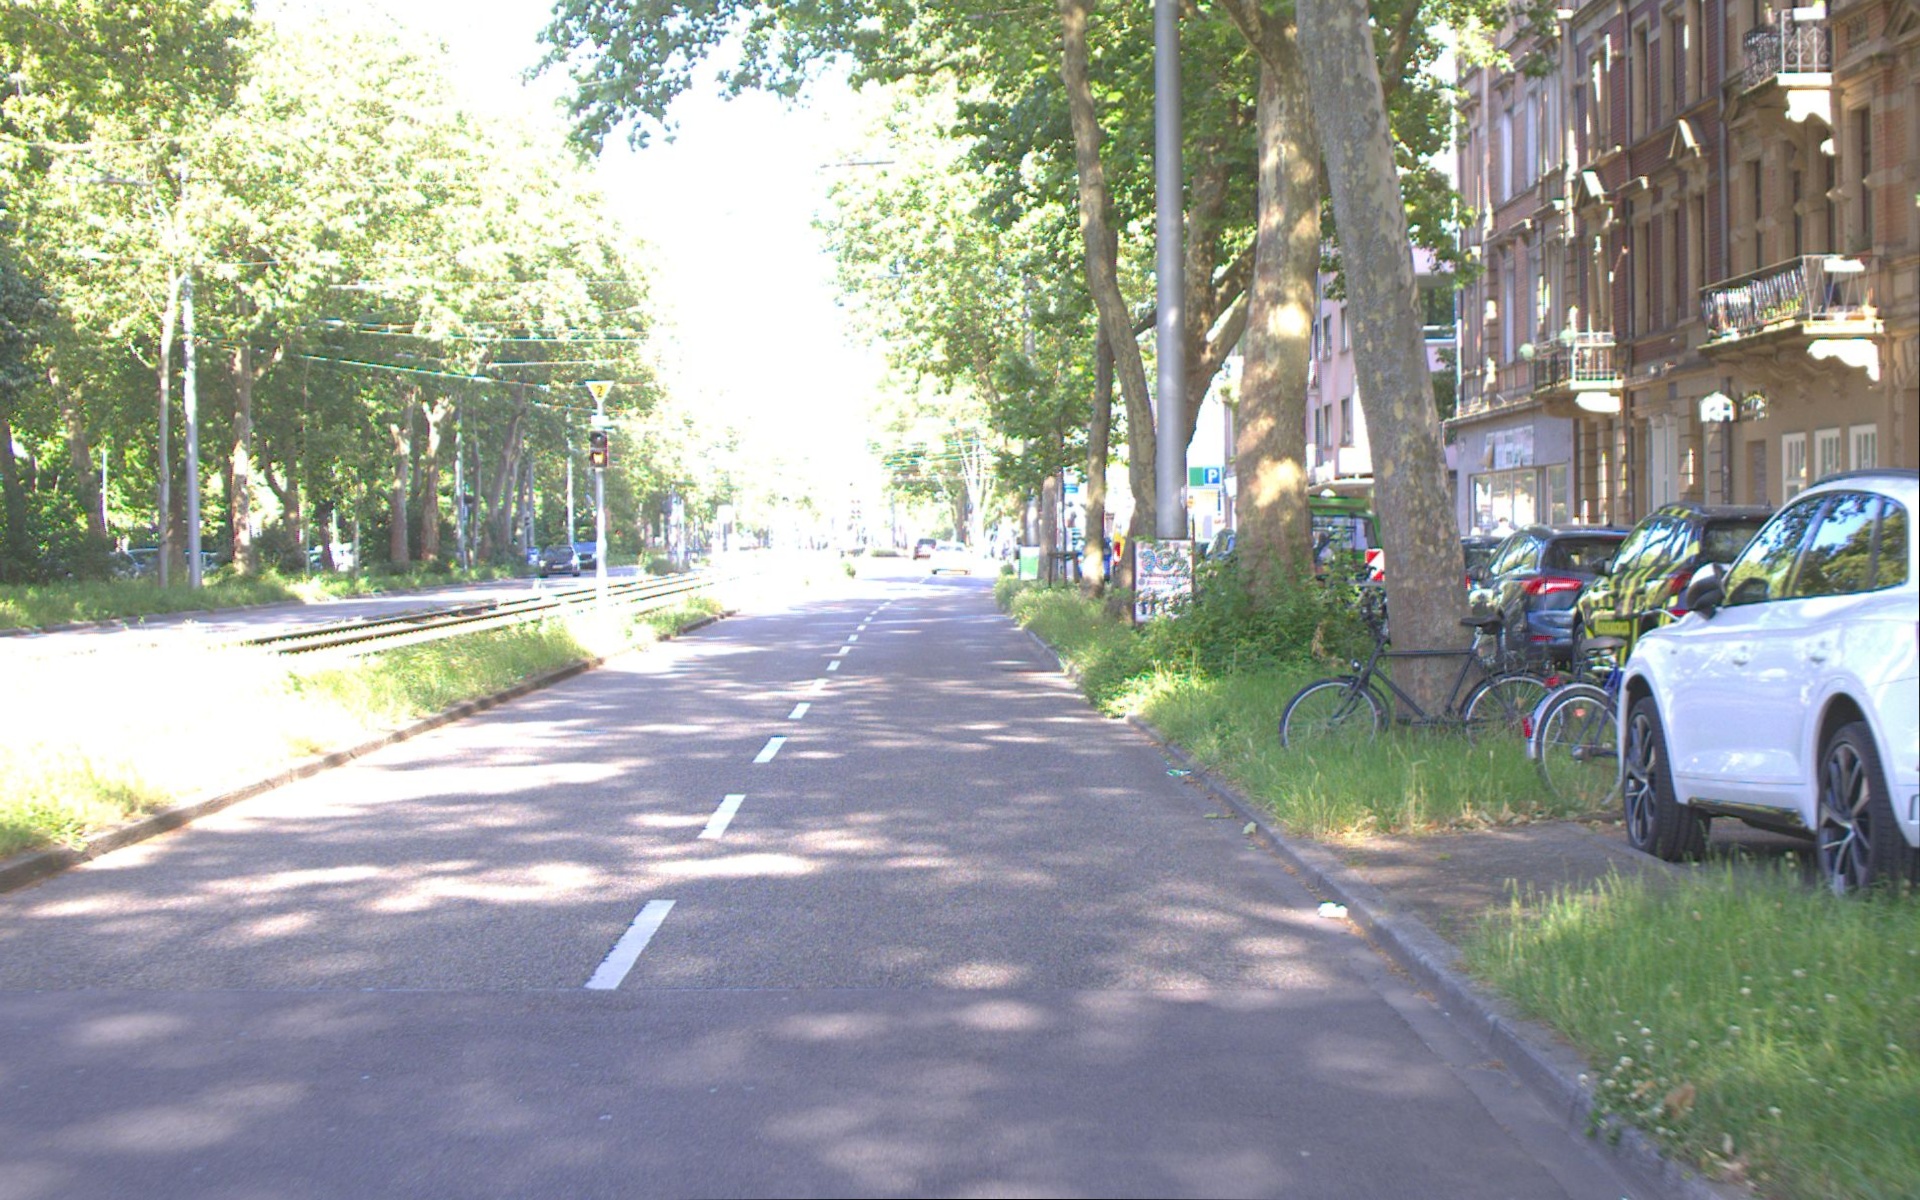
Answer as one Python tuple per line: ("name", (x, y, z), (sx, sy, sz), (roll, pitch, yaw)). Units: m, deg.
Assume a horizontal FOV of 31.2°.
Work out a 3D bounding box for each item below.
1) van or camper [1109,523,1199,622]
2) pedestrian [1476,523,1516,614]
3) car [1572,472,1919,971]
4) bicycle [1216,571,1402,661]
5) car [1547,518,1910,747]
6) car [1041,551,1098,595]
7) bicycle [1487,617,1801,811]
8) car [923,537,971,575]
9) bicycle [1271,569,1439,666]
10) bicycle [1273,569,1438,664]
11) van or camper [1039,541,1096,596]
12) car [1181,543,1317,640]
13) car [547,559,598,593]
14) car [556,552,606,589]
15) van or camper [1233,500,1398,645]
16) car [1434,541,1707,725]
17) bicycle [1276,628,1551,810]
("van or camper", (5.118, -0.729, 91.390), (2.184, 2.472, 6.268), (2, 0, 2))
("pedestrian", (10.727, -0.631, 68.796), (0.702, 1.816, 0.611), (0, 0, 0))
("car", (3.945, 0.359, 13.654), (1.902, 1.630, 4.825), (0, 1, -3))
("bicycle", (5.109, 0.236, 50.396), (2.548, 1.290, 0.975), (0, 0, -7))
("car", (5.598, 0.174, 25.532), (1.695, 1.525, 4.261), (-1, 2, -1))
("car", (3.771, -0.930, 118.855), (1.683, 1.508, 3.668), (0, 0, -3))
("bicycle", (3.553, 0.567, 17.774), (1.759, 0.924, 0.654), (-1, 1, -41))
("car", (-0.581, -1.924, 150.763), (2.021, 1.656, 4.000), (0, 1, -1))
("bicycle", (5.338, 0.230, 46.583), (2.164, 1.290, 0.983), (1, 0, 2))
("bicycle", (5.482, 0.225, 47.734), (2.164, 1.290, 0.983), (0, 0, 0))
("van or camper", (3.858, -1.134, 124.359), (1.839, 1.956, 5.127), (0, 0, -1))
("car", (5.271, -0.171, 63.224), (1.890, 1.641, 4.801), (2, 0, -2))
("car", (-18.296, -1.142, 162.418), (1.795, 1.503, 4.338), (-3, 0, 1))
("car", (-20.292, -1.591, 184.287), (1.993, 1.864, 4.872), (-2, 1, 1))
("van or camper", (5.492, -0.431, 53.702), (1.833, 2.091, 4.775), (2, 0, -2))
("car", (5.496, 0.241, 31.462), (1.695, 1.502, 4.582), (-1, 2, 0))
("bicycle", (2.685, 0.705, 20.409), (1.594, 1.055, 0.404), (0, 0, 7))
